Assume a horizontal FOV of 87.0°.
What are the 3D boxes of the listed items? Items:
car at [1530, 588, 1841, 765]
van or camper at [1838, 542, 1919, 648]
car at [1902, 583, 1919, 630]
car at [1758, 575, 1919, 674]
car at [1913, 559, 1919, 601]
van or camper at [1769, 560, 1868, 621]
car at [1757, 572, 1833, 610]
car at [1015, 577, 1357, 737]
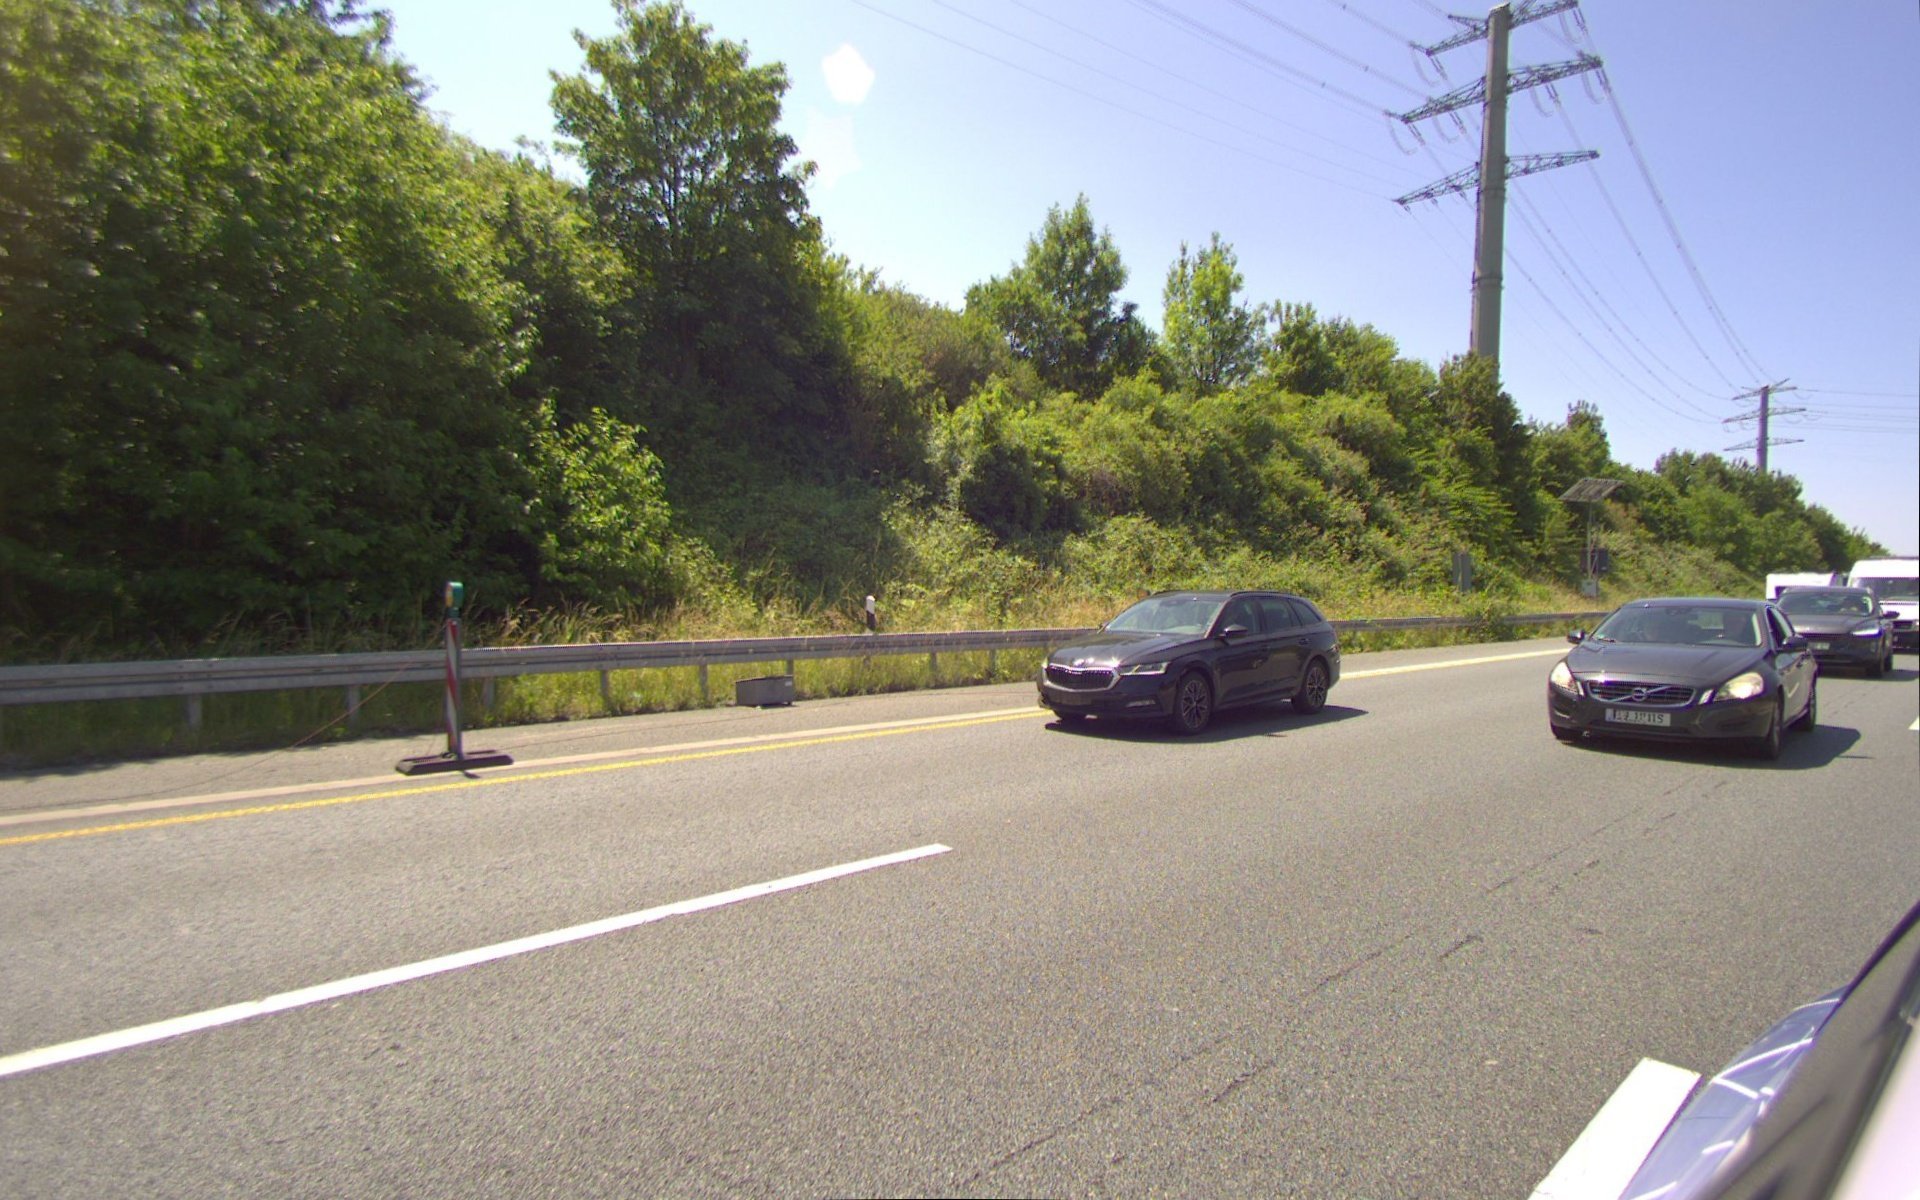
[{"bbox_3d":[7.551,0.616,10.401,3.931,1.459,1.797,0,1,-42],"label":"car"},{"bbox_3d":[25.820,-0.158,27.588,5.530,2.652,1.998,0,2,-41],"label":"van or camper"},{"bbox_3d":[36.674,0.233,37.941,4.087,1.689,1.742,0,1,-43],"label":"car"},{"bbox_3d":[16.739,0.388,19.194,4.084,1.689,1.744,0,1,-40],"label":"car"},{"bbox_3d":[92.166,-1.860,95.482,10.095,3.849,2.395,-1,0,-41],"label":"car"},{"bbox_3d":[39.738,-0.447,46.749,8.273,2.596,2.429,-1,1,-42],"label":"van or camper"},{"bbox_3d":[35.142,-0.383,42.541,4.138,1.424,1.800,-1,5,-42],"label":"car"},{"bbox_3d":[2.776,0.513,11.746,4.391,1.507,1.780,-1,1,-44],"label":"car"}]
